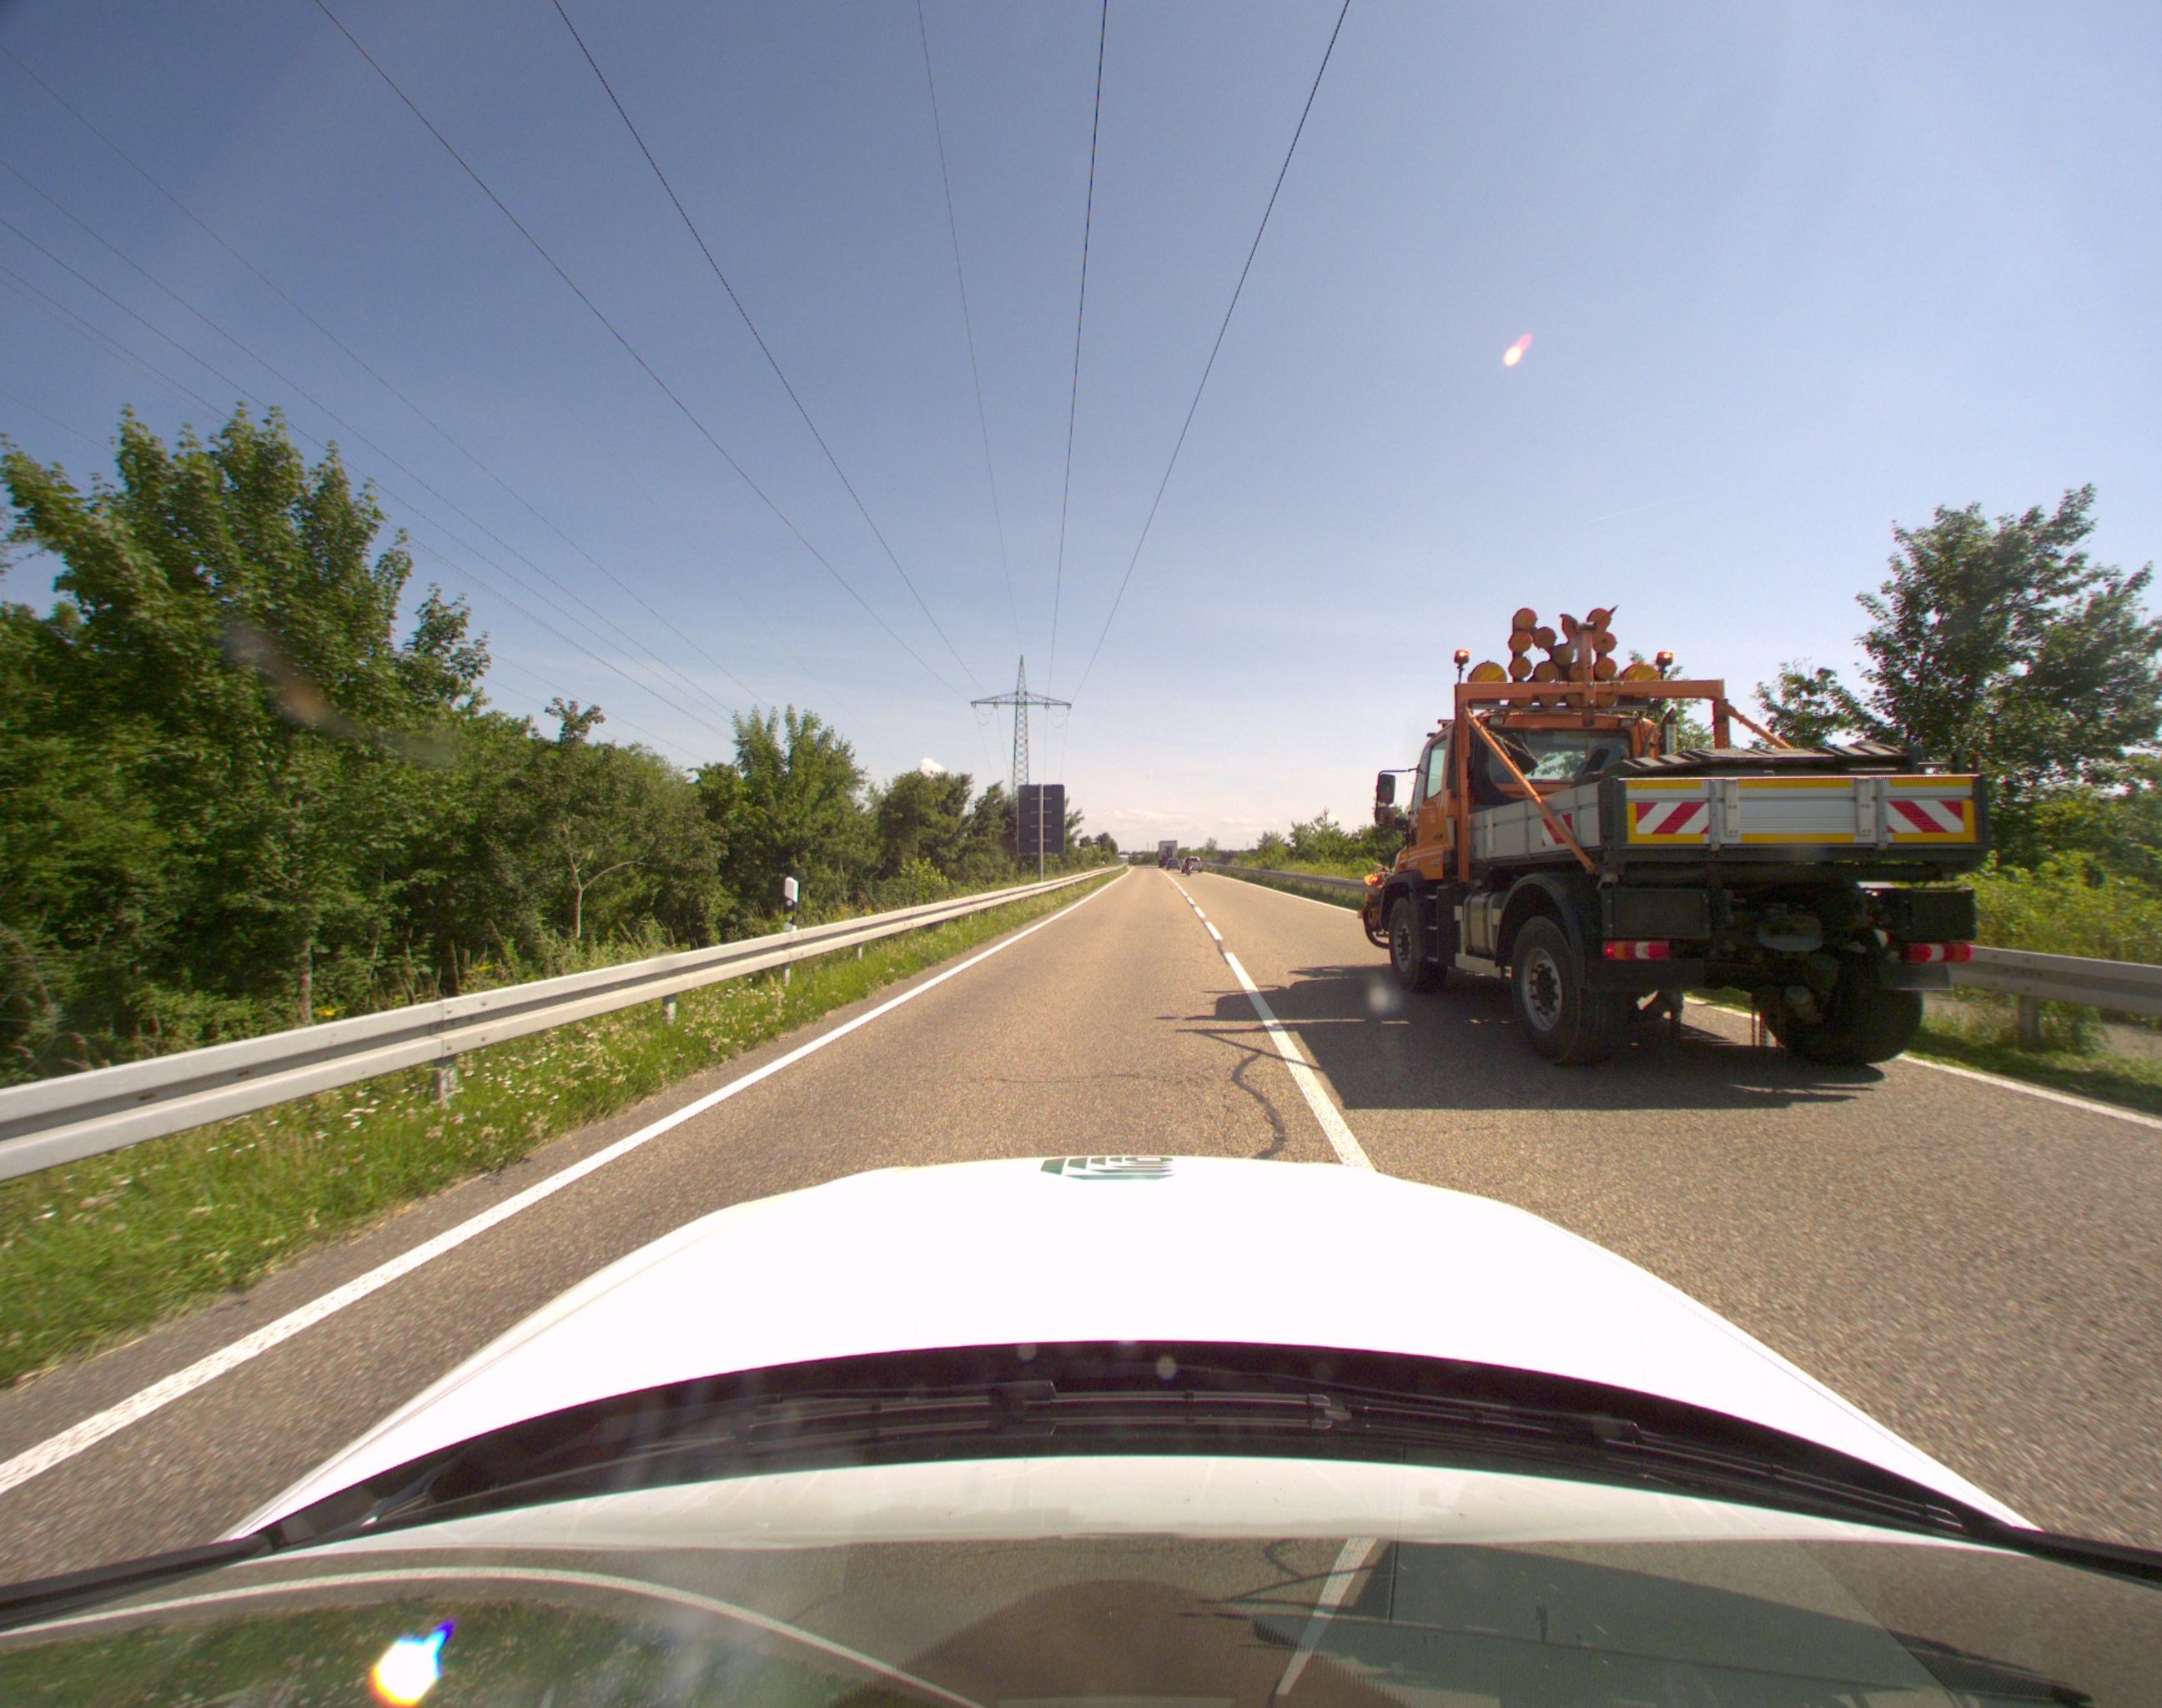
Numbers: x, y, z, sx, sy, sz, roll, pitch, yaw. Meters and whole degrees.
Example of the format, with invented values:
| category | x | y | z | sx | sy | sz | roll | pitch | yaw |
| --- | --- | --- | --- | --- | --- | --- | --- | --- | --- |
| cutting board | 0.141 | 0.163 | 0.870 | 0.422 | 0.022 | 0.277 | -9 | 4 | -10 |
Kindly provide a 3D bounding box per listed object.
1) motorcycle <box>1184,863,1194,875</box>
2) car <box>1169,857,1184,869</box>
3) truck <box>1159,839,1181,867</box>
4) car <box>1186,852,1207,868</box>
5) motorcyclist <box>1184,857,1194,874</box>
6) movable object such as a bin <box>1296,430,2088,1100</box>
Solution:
| category | x | y | z | sx | sy | sz | roll | pitch | yaw |
| --- | --- | --- | --- | --- | --- | --- | --- | --- | --- |
| motorcycle | 8.871 | 1.216 | 66.836 | 0.776 | 0.975 | 2.365 | -1 | 0 | 6 |
| car | 12.028 | 1.119 | 102.629 | 1.857 | 1.420 | 4.006 | -1 | 0 | 5 |
| truck | 13.715 | -0.098 | 125.757 | 3.225 | 3.979 | 9.458 | -1 | -1 | 6 |
| car | 11.177 | 0.564 | 79.048 | 1.817 | 1.451 | 4.006 | -1 | 0 | 5 |
| motorcyclist | 8.880 | 0.947 | 66.857 | 0.776 | 1.325 | 0.814 | -1 | 0 | 5 |
| movable object such as a bin | 4.760 | -0.498 | 9.469 | 2.740 | 3.839 | 9.457 | -1 | 0 | 5 |
